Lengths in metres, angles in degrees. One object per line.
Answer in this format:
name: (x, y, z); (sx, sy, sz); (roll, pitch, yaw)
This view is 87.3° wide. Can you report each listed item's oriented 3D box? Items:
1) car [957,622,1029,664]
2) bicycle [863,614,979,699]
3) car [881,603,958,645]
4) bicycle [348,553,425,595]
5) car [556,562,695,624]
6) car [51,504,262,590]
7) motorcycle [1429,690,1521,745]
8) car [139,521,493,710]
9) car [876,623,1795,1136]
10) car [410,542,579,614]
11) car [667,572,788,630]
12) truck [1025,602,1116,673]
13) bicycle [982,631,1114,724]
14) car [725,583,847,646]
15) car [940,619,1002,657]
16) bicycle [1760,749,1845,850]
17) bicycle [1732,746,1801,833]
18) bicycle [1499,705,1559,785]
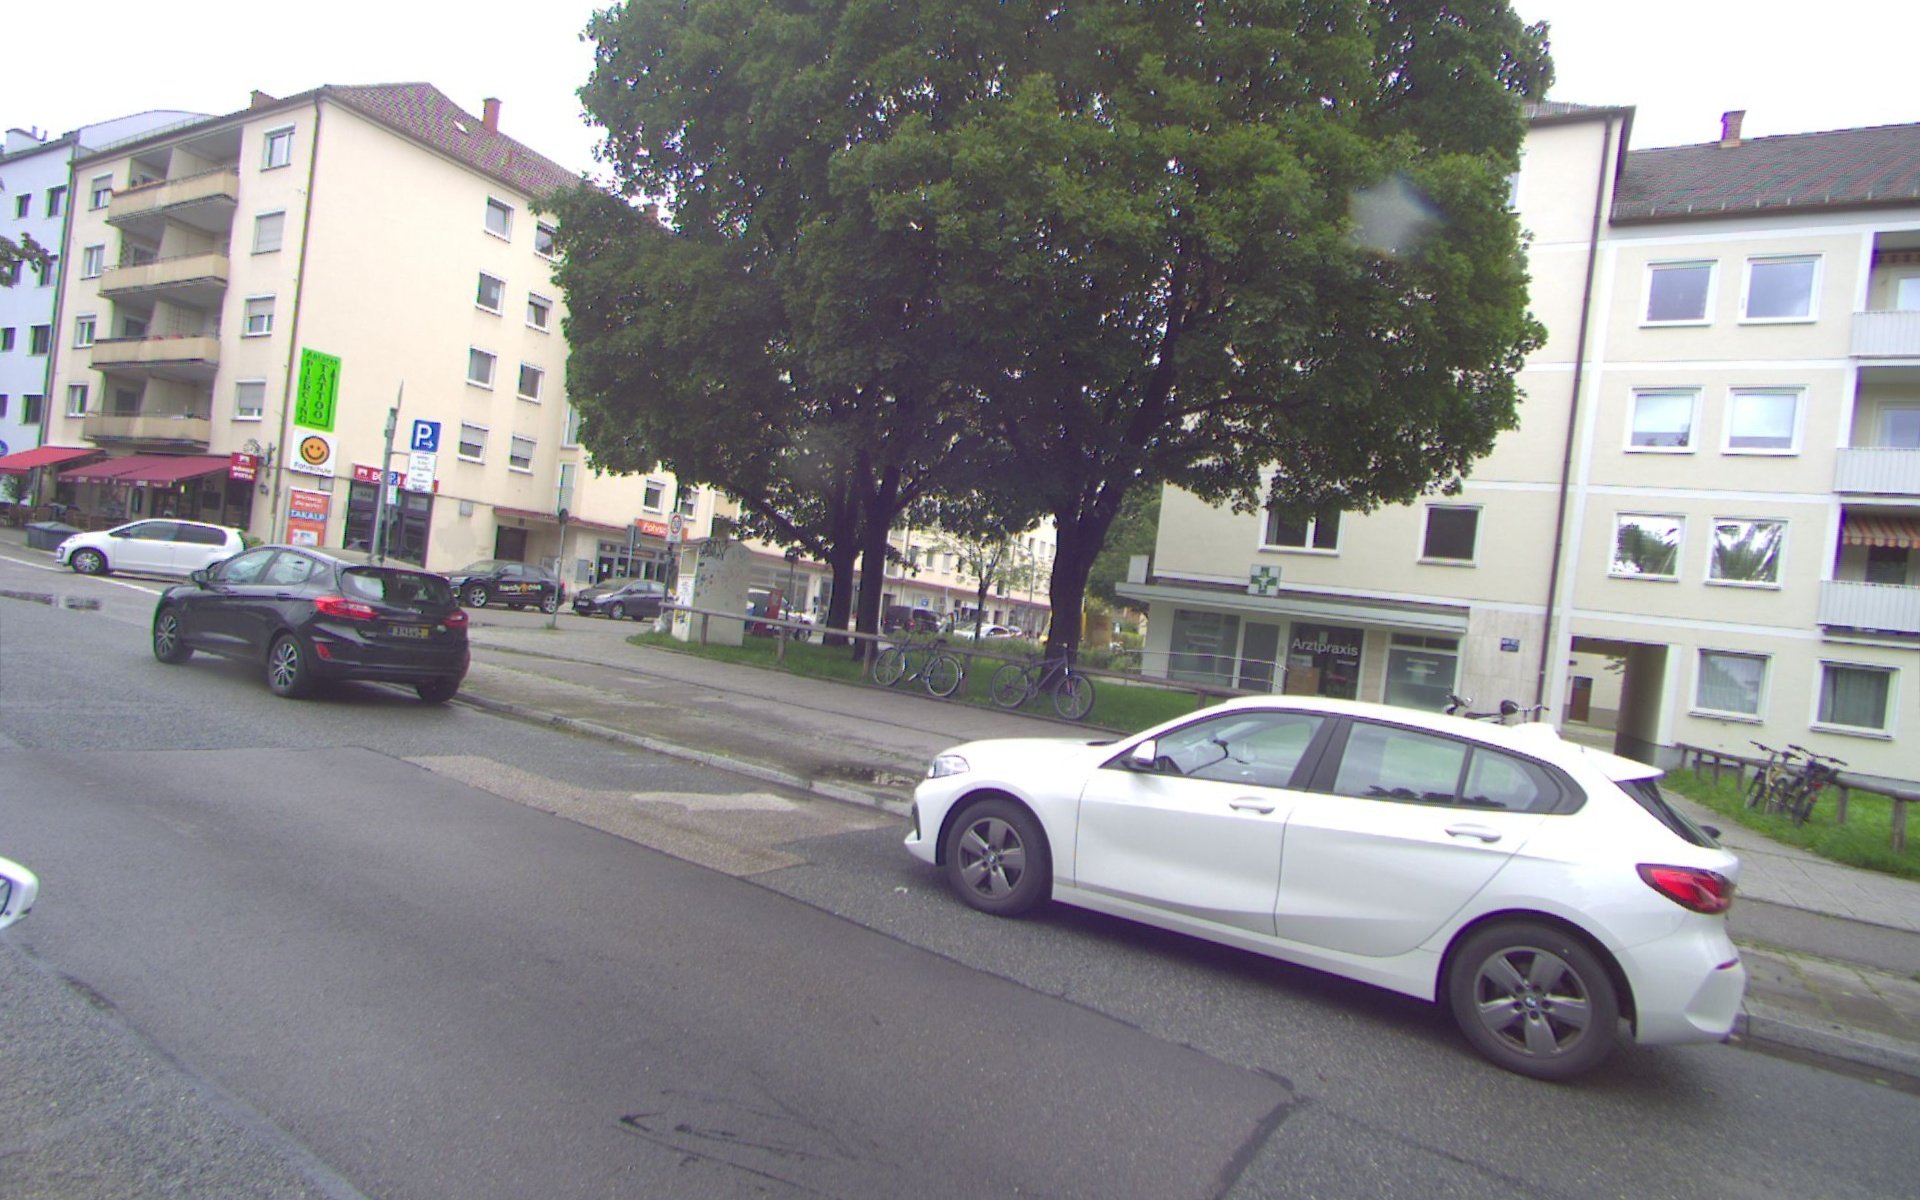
car: (1.808, 2.291, 53.261); (1.839, 1.679, 4.740); (7, -3, 27)
bicycle: (-0.644, 0.883, 16.048); (1.823, 1.118, 0.389); (7, -1, 32)
car: (-2.071, 1.316, 53.481); (1.839, 1.679, 4.751); (7, -3, 27)
bicycle: (-16.927, -0.760, 29.733); (0.548, 0.968, 1.852); (7, -2, 30)
car: (-11.589, -0.203, 35.151); (1.839, 1.681, 4.401); (7, 0, 28)
car: (-18.500, -1.199, 23.402); (3.524, 1.434, 1.855); (8, 0, -32)
motorcycle: (12.618, 2.871, 24.662); (1.875, 1.035, 0.605); (7, -1, 32)
car: (-6.933, 0.143, 10.762); (3.613, 1.482, 1.621); (7, -2, 31)
car: (1.763, 1.186, 5.594); (4.067, 1.481, 1.687); (7, -3, 31)
car: (-14.151, -0.606, 30.860); (1.839, 1.681, 4.403); (7, 0, 27)
car: (-9.156, 0.084, 40.093); (1.840, 1.795, 4.743); (7, 0, 30)
truck: (6.309, 2.188, 56.152); (2.318, 3.282, 7.426); (7, -2, 27)
bicycle: (1.285, 1.124, 14.879); (1.852, 1.116, 0.382); (7, -1, 32)
car: (-6.187, 0.562, 36.345); (1.839, 1.680, 4.405); (7, -2, 29)
car: (0.674, 2.253, 58.878); (1.839, 1.679, 4.089); (7, -2, 27)
bicycle: (9.947, 2.321, 11.916); (0.425, 0.985, 1.880); (7, -2, 32)
bicycle: (10.923, 2.535, 13.665); (0.425, 0.985, 1.880); (7, -2, 32)
bicycle: (7.868, 1.979, 13.877); (0.549, 0.950, 1.881); (7, -2, 32)
